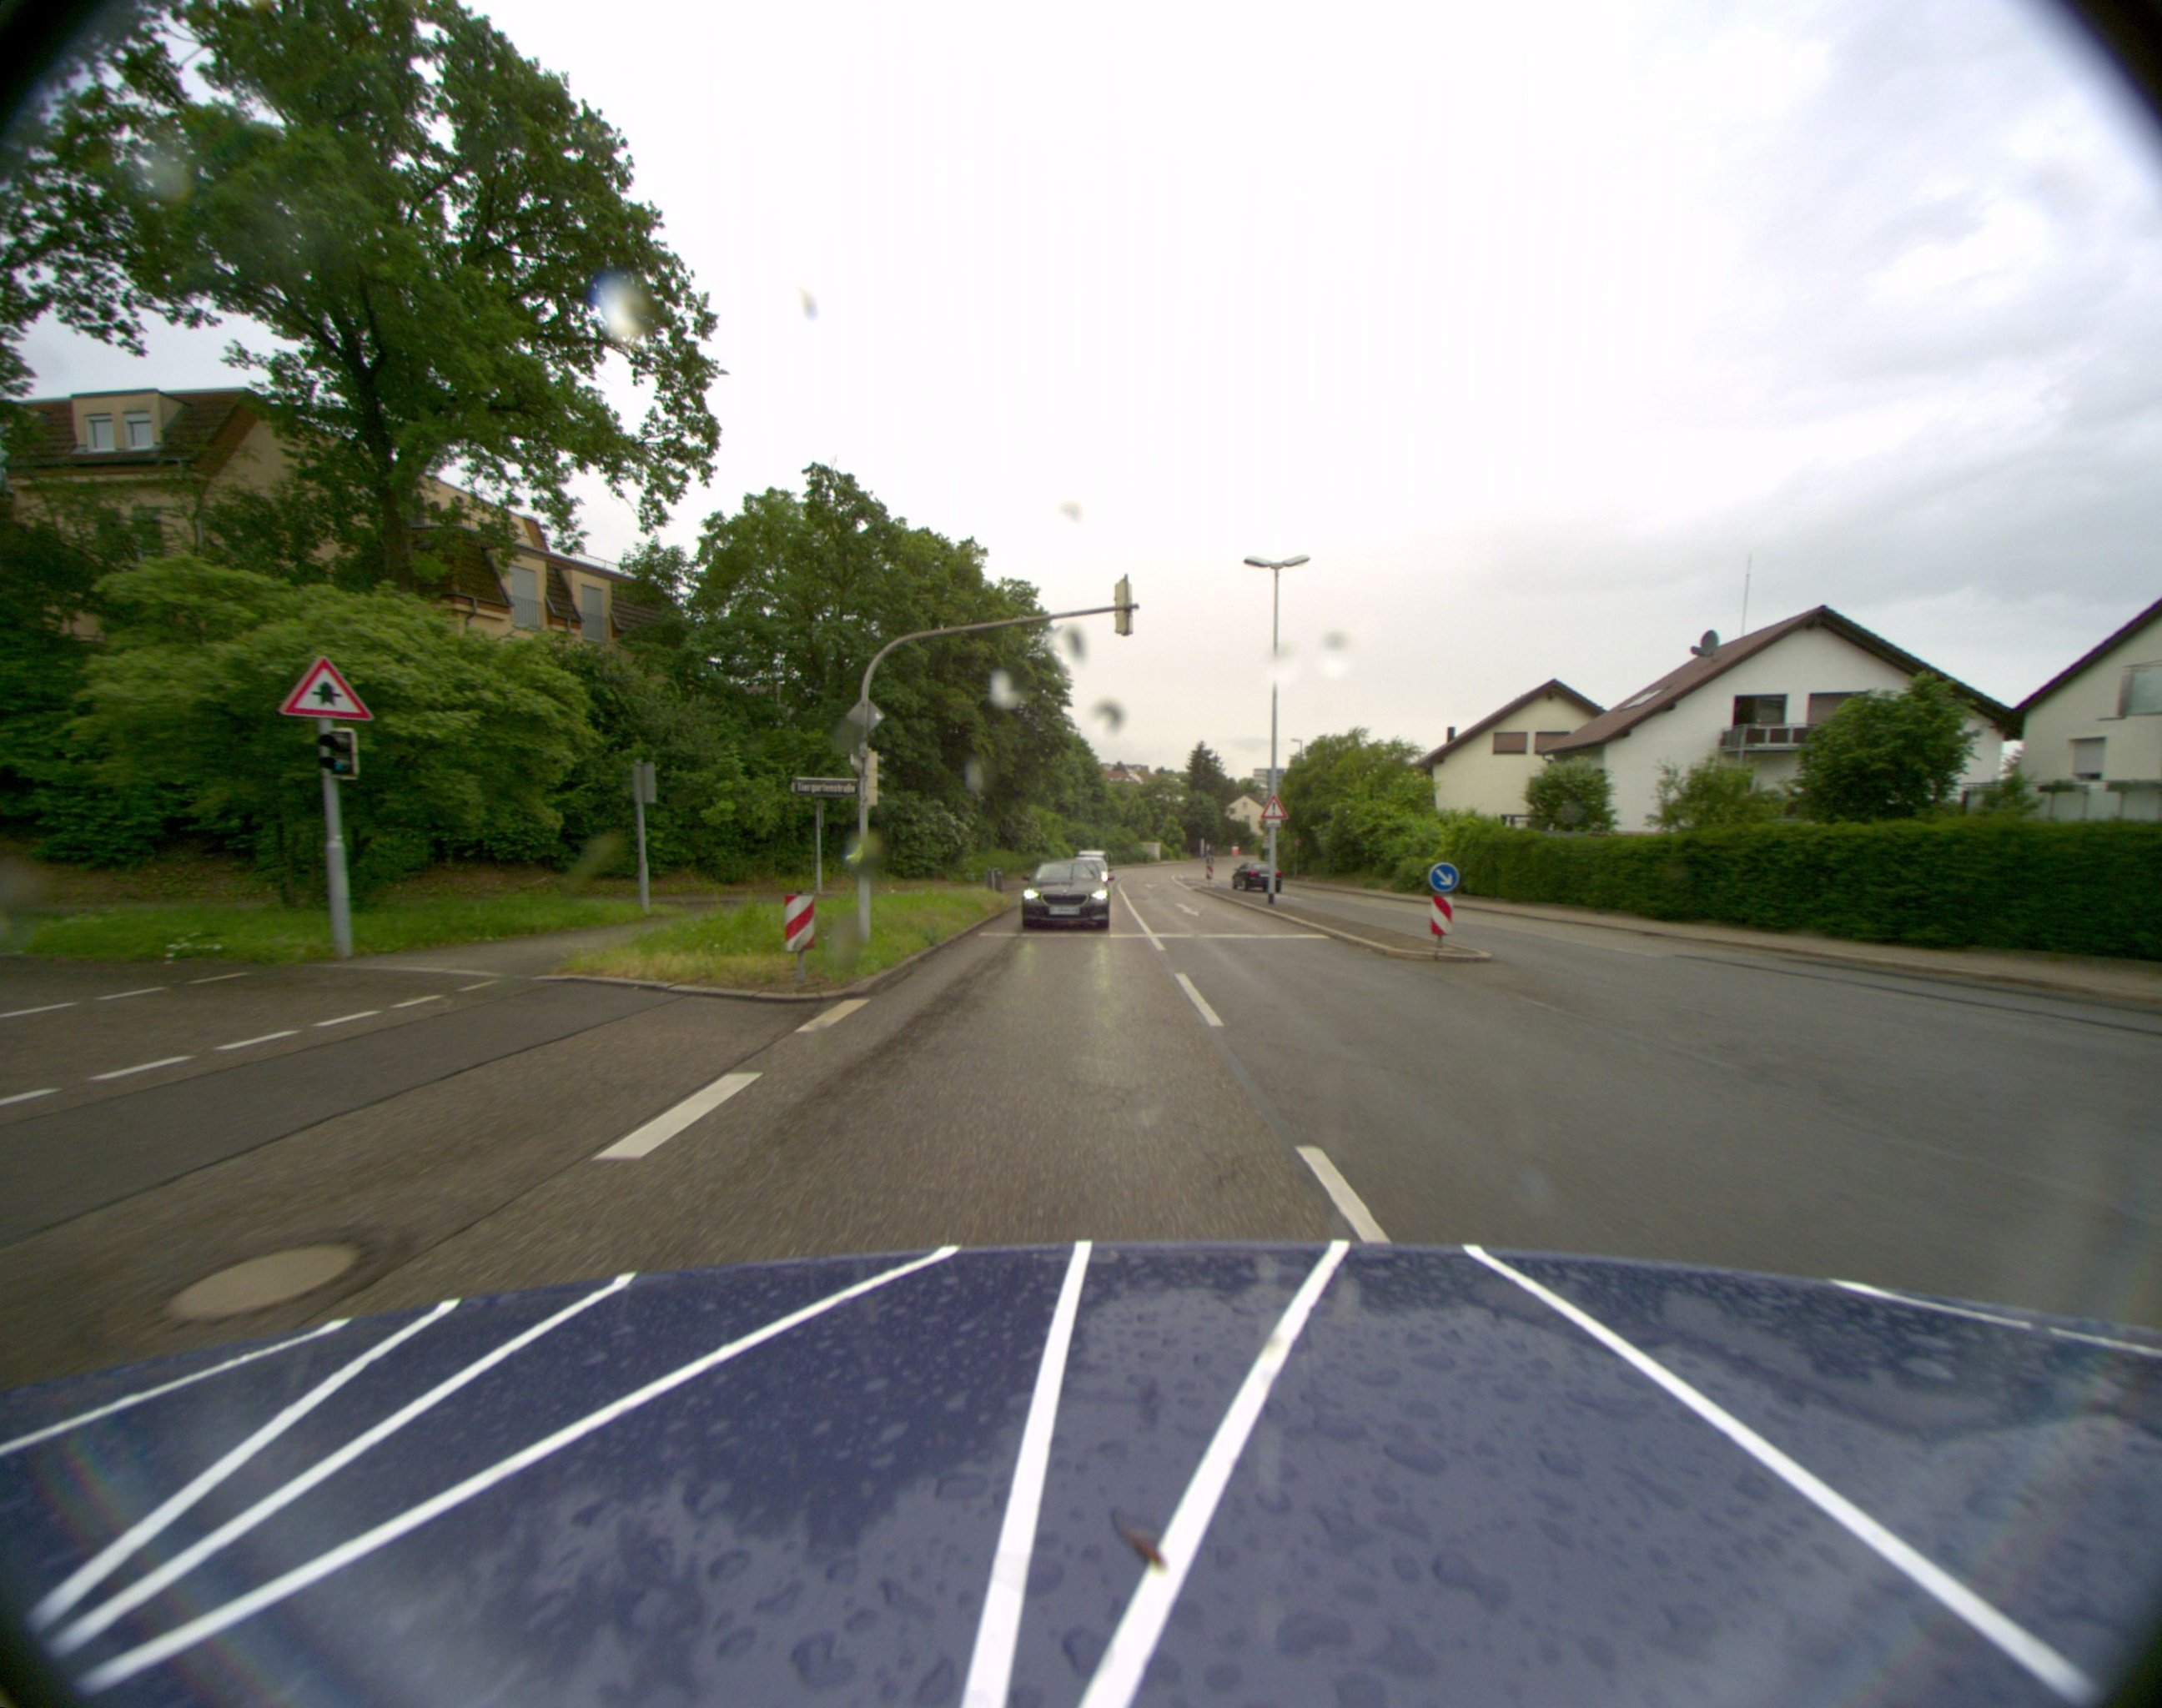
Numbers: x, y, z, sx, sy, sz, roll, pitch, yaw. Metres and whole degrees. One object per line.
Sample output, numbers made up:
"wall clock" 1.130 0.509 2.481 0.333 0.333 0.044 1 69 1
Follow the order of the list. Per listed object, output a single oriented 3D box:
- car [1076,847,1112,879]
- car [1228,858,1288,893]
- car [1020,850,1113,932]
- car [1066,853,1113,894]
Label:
"car" 0.841 0.527 46.968 1.813 1.797 4.121 2 1 6
"car" 8.445 0.995 36.535 1.867 1.484 3.833 1 0 -1
"car" -0.215 0.742 17.614 1.867 1.547 4.119 1 2 2
"car" 0.418 0.768 32.394 1.814 1.547 4.119 1 1 2
